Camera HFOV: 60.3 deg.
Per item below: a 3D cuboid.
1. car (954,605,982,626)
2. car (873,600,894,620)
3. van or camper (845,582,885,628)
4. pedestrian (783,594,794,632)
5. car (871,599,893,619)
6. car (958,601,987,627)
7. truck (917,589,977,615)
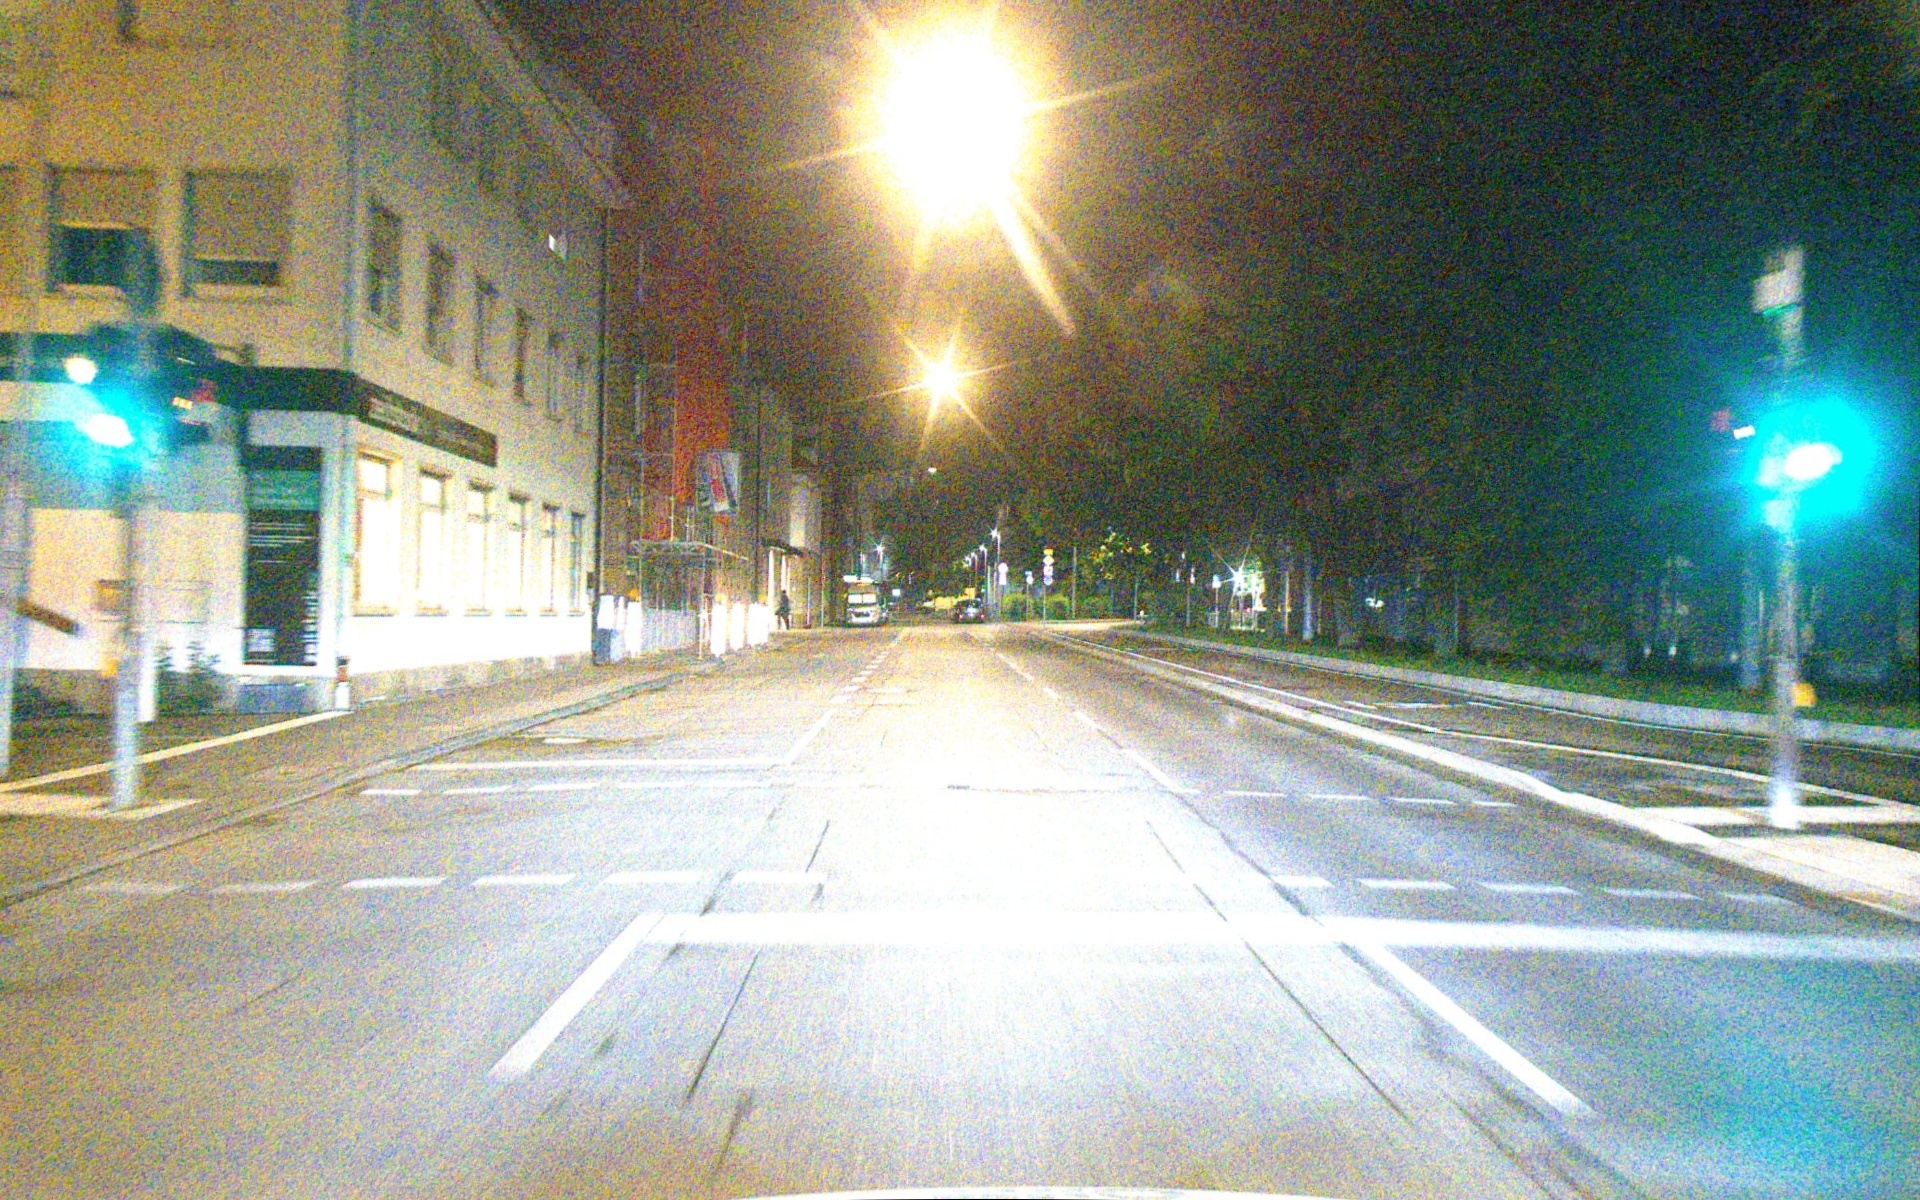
[{"bbox_3d":[0.545,1.092,115.575,1.923,1.407,3.999,0,-1,-1],"label":"car"},{"bbox_3d":[-6.414,0.830,138.740,1.643,1.594,4.103,0,-1,-1],"label":"car"},{"bbox_3d":[-5.691,0.339,99.545,2.115,2.580,6.224,-2,-1,-2],"label":"van or camper"},{"bbox_3d":[-7.883,0.605,76.050,0.408,1.738,0.440,0,-1,-18],"label":"pedestrian"},{"bbox_3d":[-6.252,0.761,132.799,1.670,1.536,4.098,1,-1,-2],"label":"car"},{"bbox_3d":[0.870,0.918,110.110,1.845,1.631,4.107,-1,-1,1],"label":"car"},{"bbox_3d":[-1.471,0.210,187.690,6.642,2.894,1.998,1,0,-4],"label":"truck"}]
